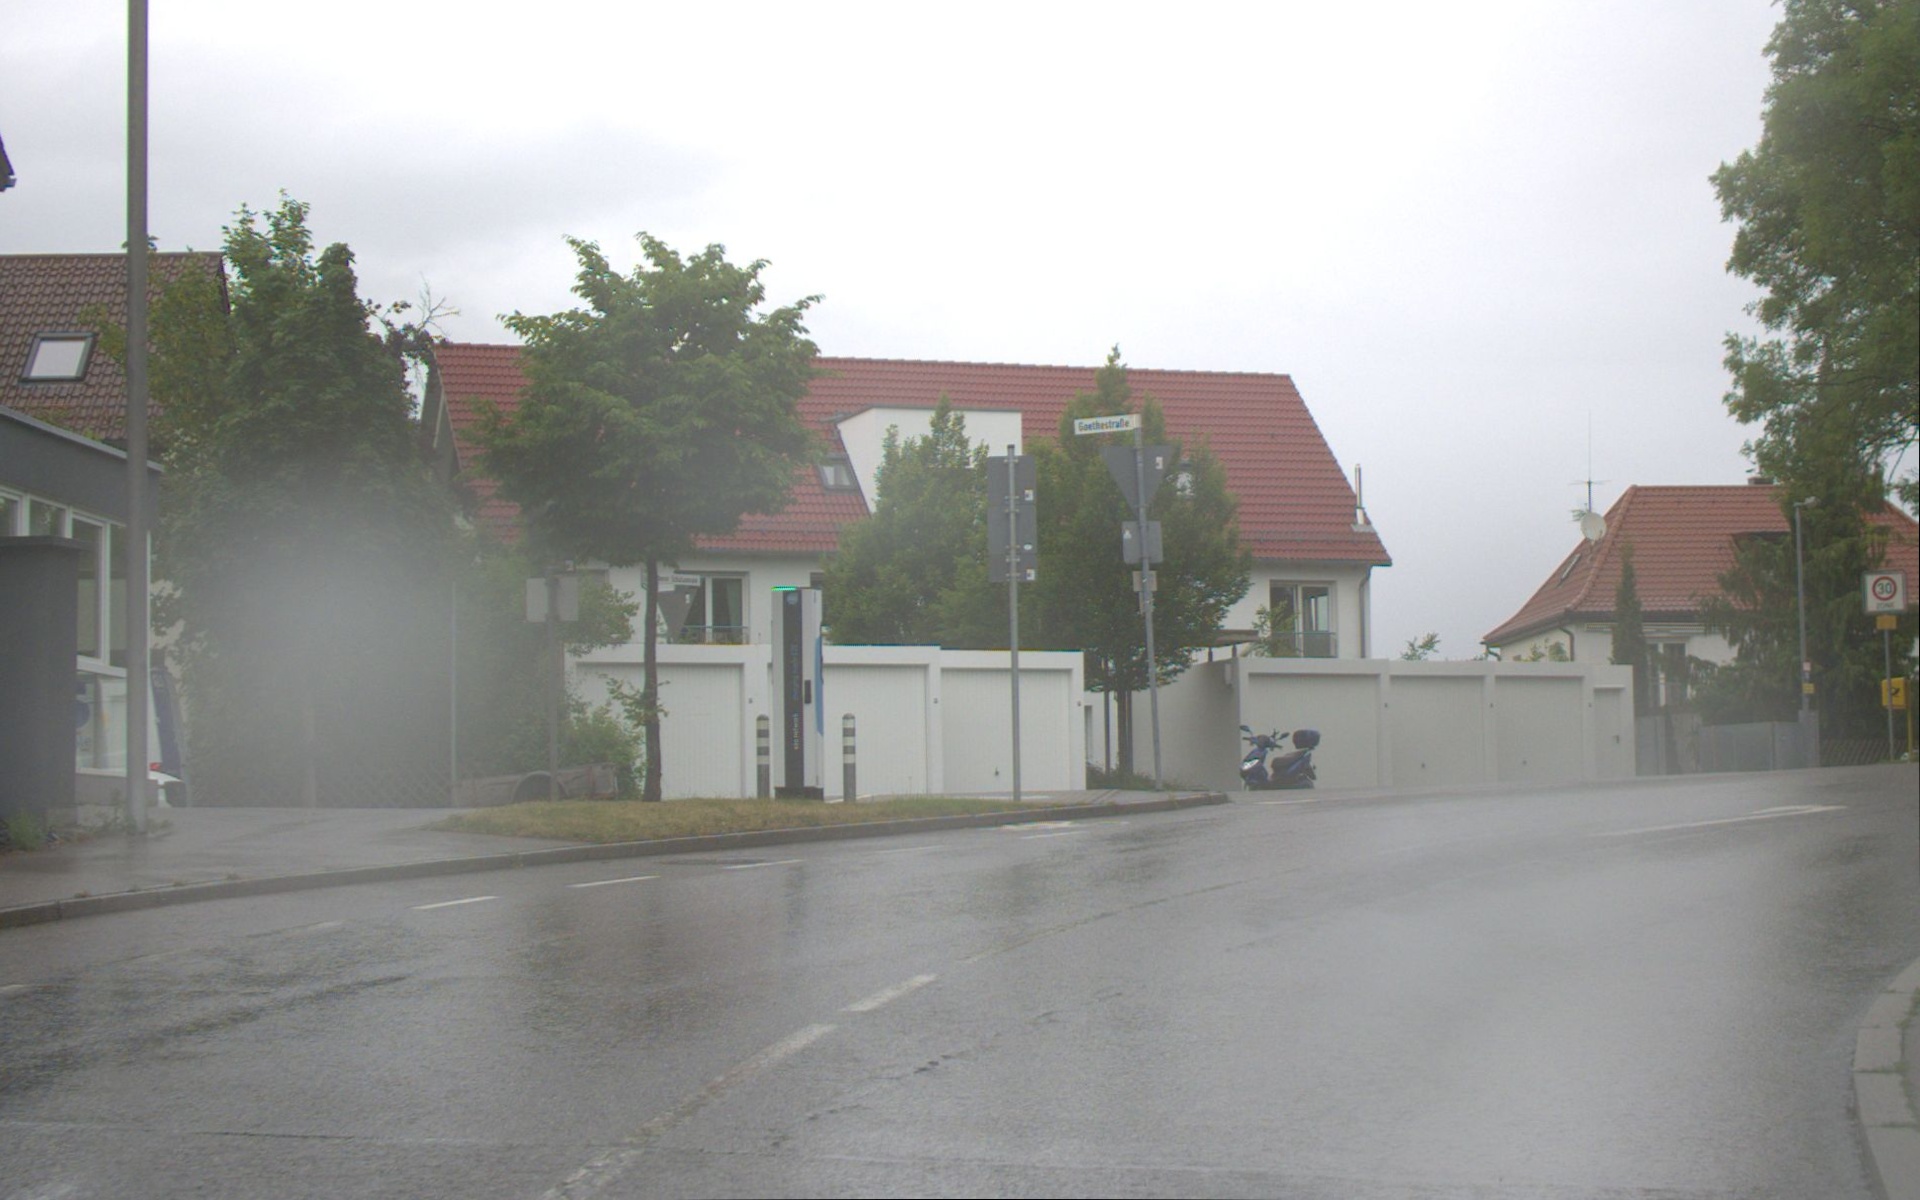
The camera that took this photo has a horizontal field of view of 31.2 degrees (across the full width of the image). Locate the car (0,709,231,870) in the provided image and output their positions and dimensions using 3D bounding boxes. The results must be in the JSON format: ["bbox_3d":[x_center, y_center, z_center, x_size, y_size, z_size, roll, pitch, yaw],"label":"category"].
[{"bbox_3d":[-11.069,2.243,39.670,4.778,1.700,2.067,-3,-3,2],"label":"car"}]

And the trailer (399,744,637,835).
[{"bbox_3d":[-5.851,2.503,45.637,2.814,1.003,1.593,-4,-2,5],"label":"trailer"}]

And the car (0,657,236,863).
[{"bbox_3d":[-12.881,2.194,45.130,6.233,2.515,2.191,-3,-3,-1],"label":"car"}]

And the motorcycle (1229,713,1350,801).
[{"bbox_3d":[5.341,2.534,55.638,2.040,1.318,0.708,0,-4,-43],"label":"motorcycle"}]
